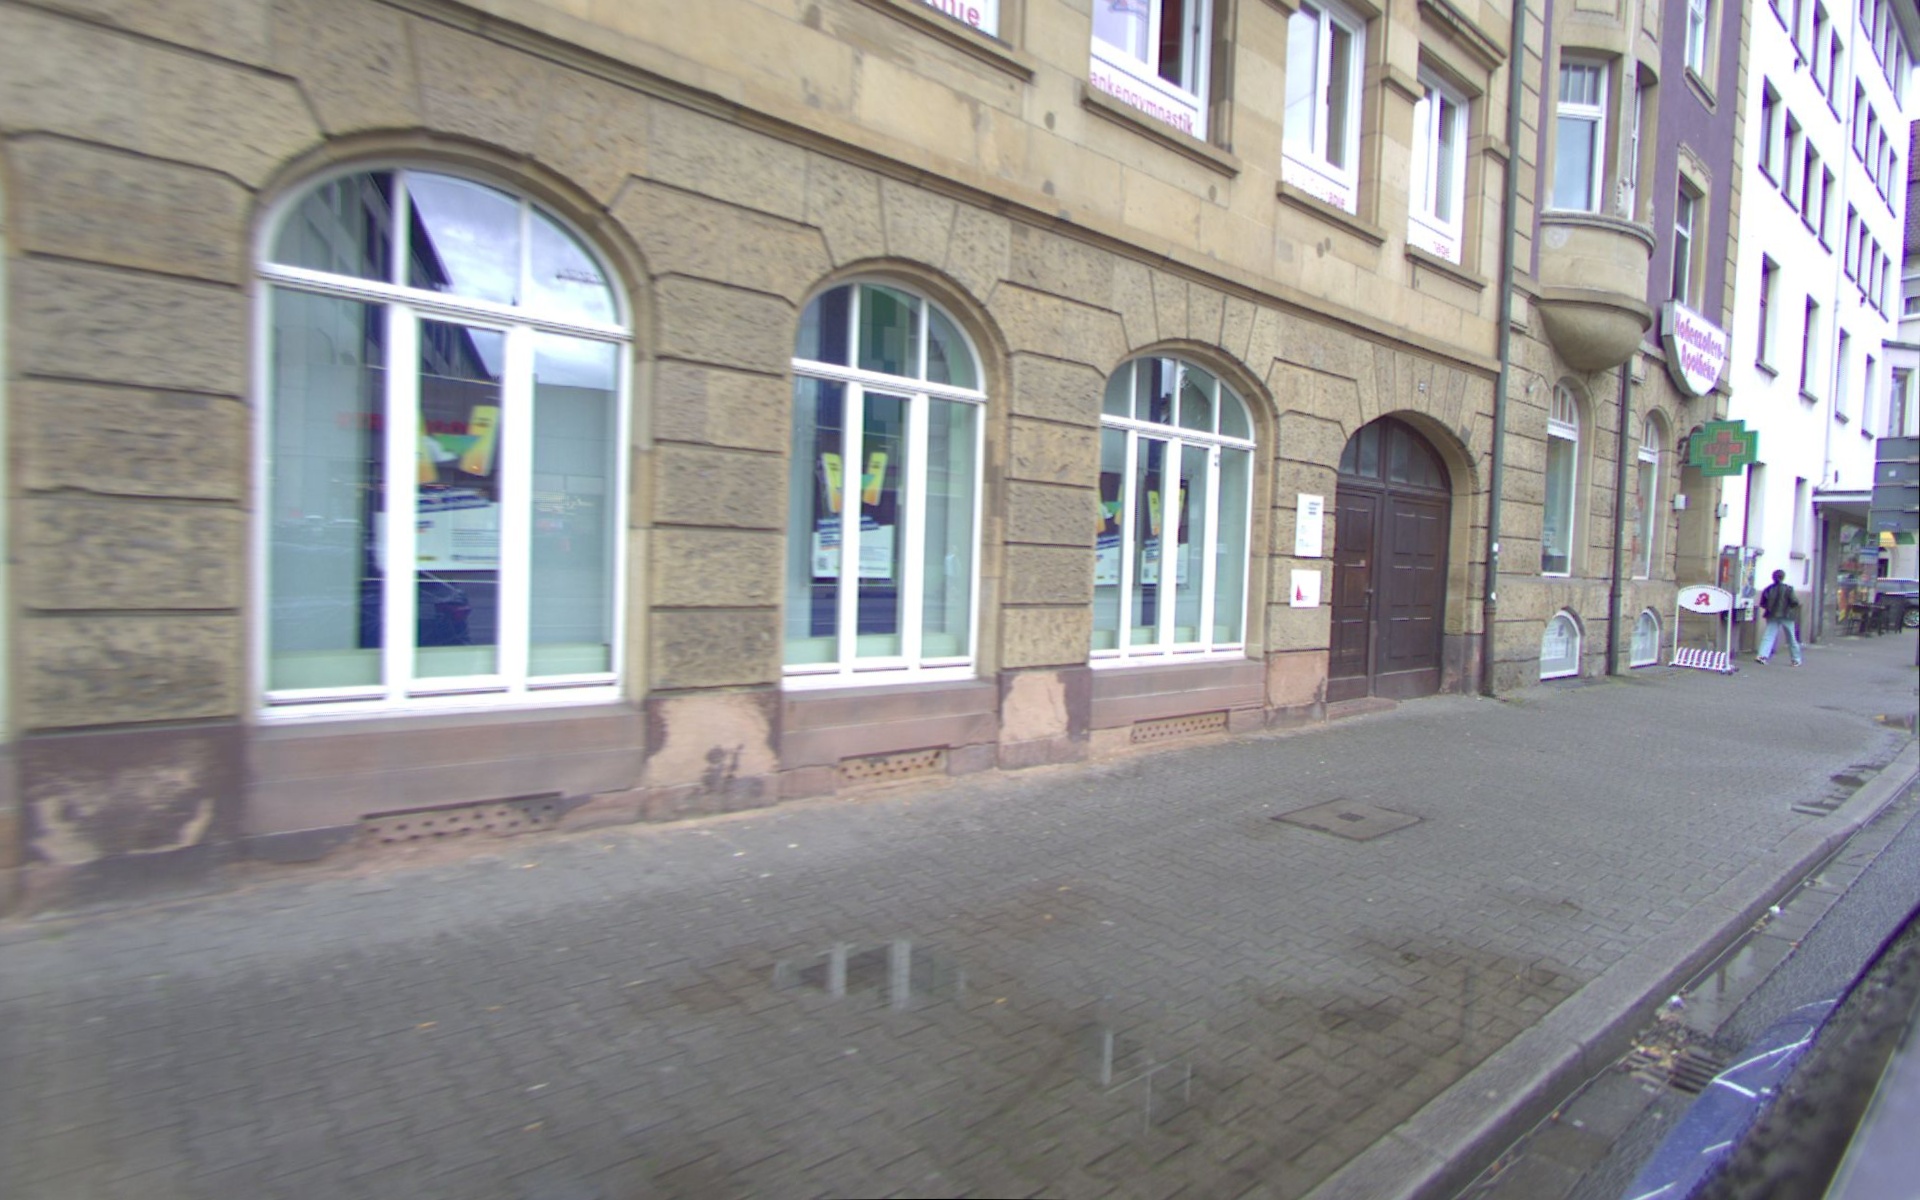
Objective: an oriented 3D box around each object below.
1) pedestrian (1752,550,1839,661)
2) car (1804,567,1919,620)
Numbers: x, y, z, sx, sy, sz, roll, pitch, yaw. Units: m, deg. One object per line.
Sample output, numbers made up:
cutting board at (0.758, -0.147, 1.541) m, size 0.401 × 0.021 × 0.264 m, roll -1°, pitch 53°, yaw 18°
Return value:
pedestrian at (13.527, 0.080, 16.388) m, size 0.882 × 1.741 × 0.676 m, roll 1°, pitch 3°, yaw -23°
car at (32.853, -0.250, 36.113) m, size 4.133 × 1.793 × 1.846 m, roll 3°, pitch 2°, yaw 40°
